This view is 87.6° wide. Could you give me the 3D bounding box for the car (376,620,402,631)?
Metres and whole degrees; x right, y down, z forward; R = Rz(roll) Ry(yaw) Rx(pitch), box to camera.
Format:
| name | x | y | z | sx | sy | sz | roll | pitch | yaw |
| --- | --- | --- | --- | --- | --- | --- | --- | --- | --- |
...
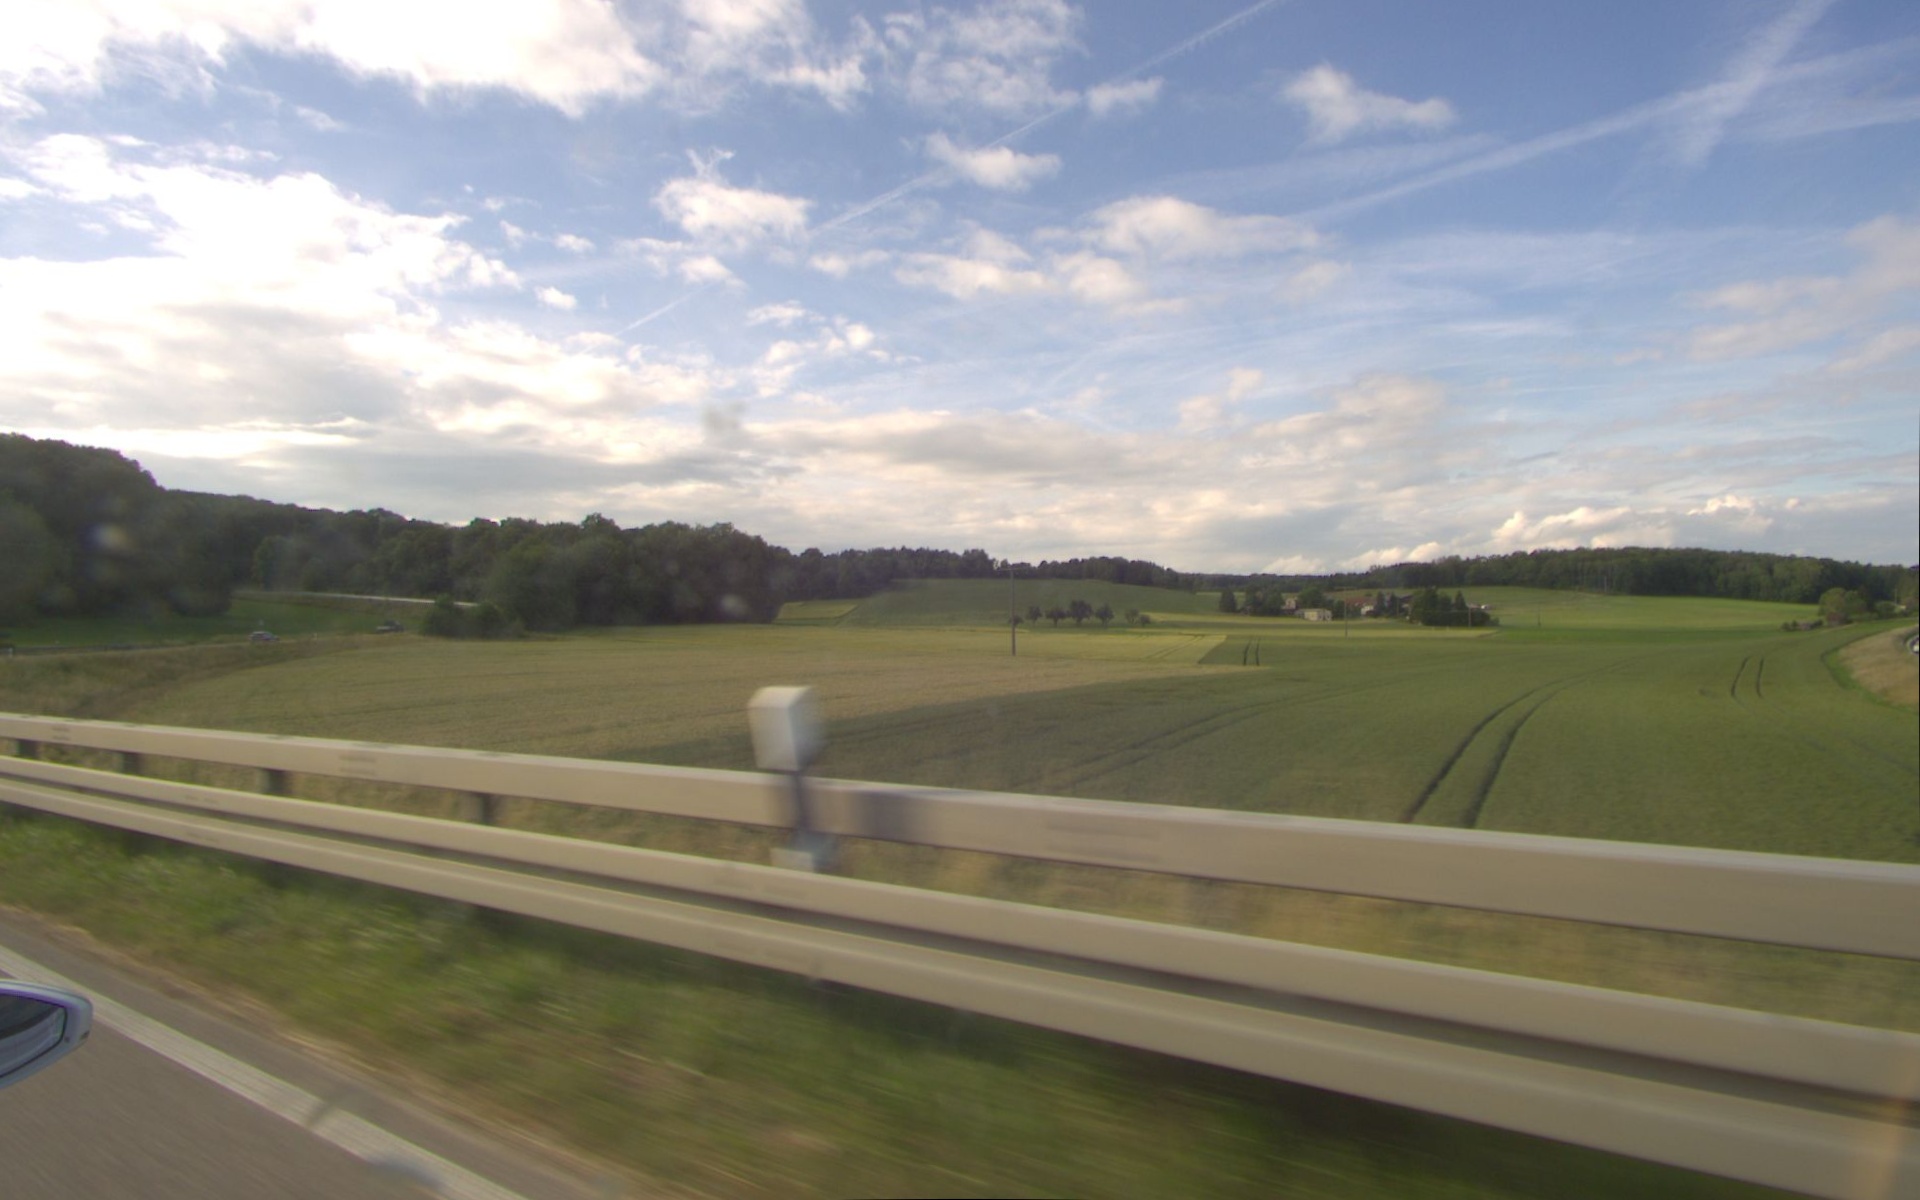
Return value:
| name | x | y | z | sx | sy | sz | roll | pitch | yaw |
| --- | --- | --- | --- | --- | --- | --- | --- | --- | --- |
| car | -95.429 | 4.208 | 167.378 | 1.961 | 1.794 | 4.001 | -1 | -1 | 3 |
